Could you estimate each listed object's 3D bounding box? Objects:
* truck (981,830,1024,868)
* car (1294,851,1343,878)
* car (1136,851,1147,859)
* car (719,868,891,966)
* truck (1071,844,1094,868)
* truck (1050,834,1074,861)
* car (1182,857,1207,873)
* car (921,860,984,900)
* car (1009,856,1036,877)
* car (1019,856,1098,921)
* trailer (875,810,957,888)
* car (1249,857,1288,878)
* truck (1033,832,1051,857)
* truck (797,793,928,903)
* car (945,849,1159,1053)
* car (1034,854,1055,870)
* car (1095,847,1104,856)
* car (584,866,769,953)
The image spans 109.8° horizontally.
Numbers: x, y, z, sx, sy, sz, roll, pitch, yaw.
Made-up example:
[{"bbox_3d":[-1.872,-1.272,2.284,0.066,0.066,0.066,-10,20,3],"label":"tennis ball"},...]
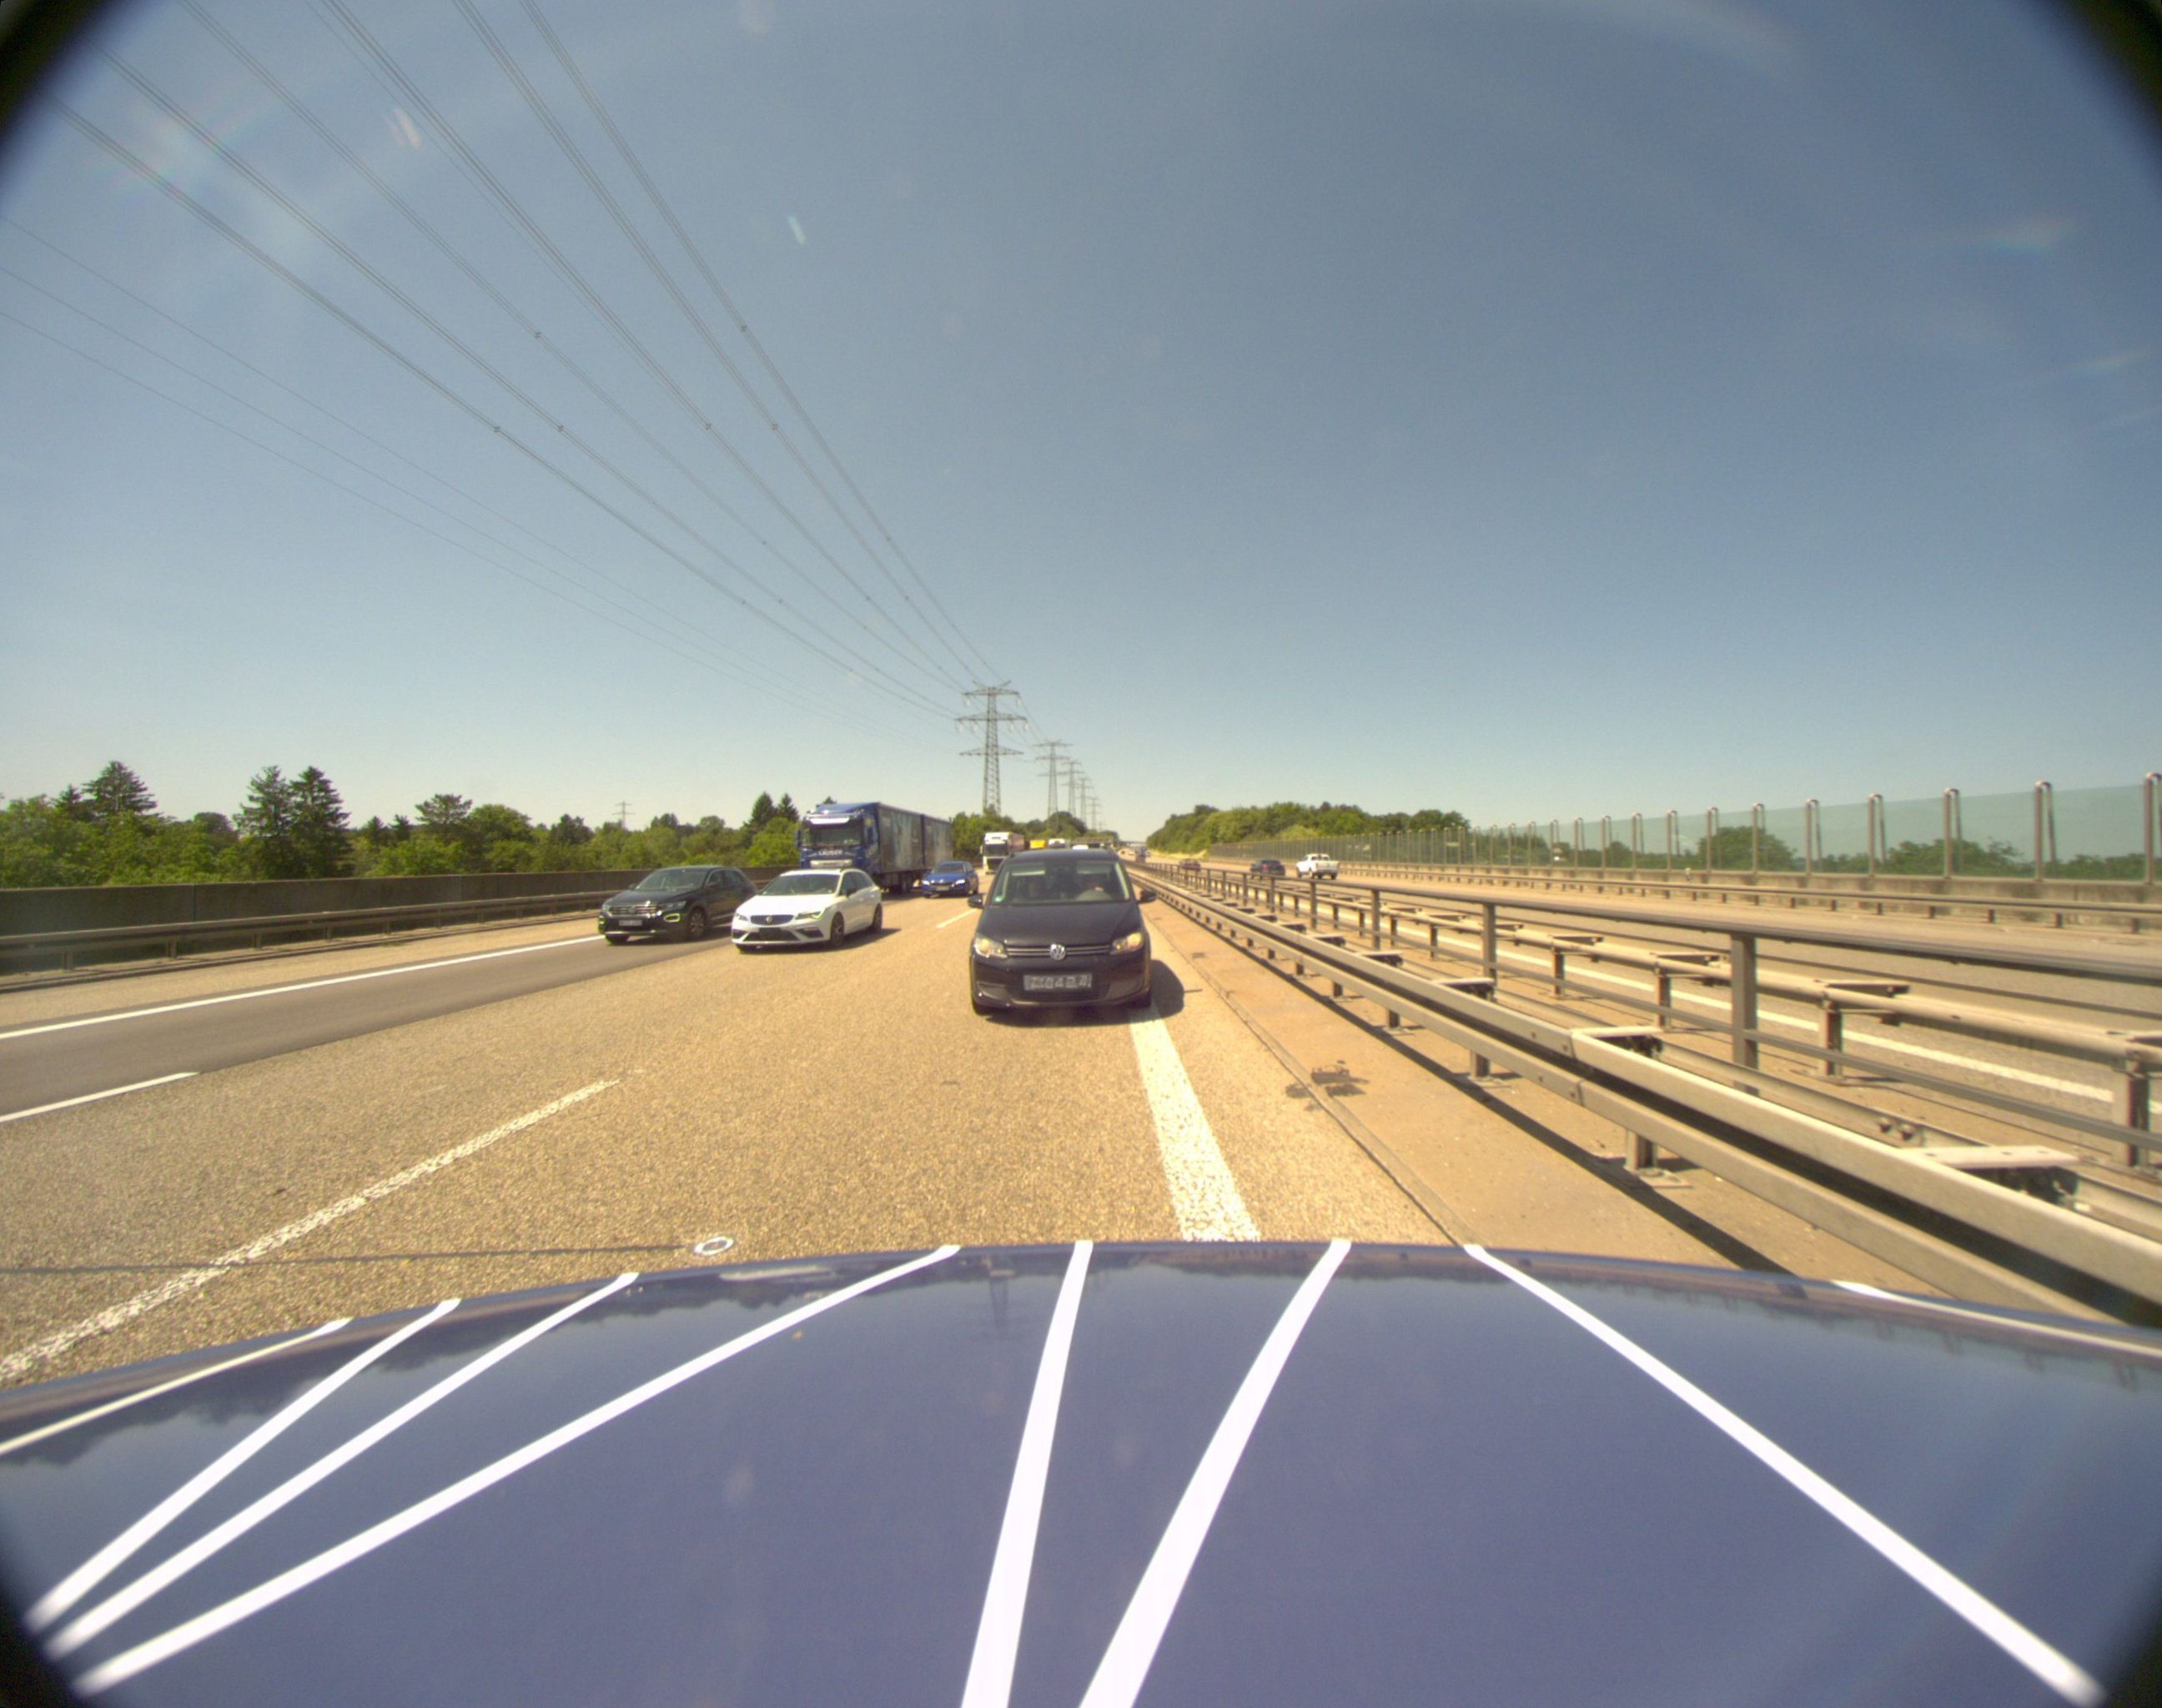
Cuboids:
[{"bbox_3d":[-7.902,-0.510,77.766,2.985,3.538,10.967,-2,1,1],"label":"truck"},{"bbox_3d":[17.637,0.730,56.616,1.998,1.874,5.256,1,0,0],"label":"car"},{"bbox_3d":[11.709,0.183,147.172,1.810,1.618,4.477,-2,0,0],"label":"car"},{"bbox_3d":[-5.136,1.088,14.785,1.843,1.481,4.071,-2,0,-1],"label":"car"},{"bbox_3d":[0.185,0.182,82.868,2.284,2.479,5.861,-2,0,1],"label":"truck"},{"bbox_3d":[-2.835,-0.984,115.897,2.980,3.832,10.561,-2,1,1],"label":"truck"},{"bbox_3d":[9.943,0.947,66.759,1.601,1.310,4.341,1,0,0],"label":"car"},{"bbox_3d":[-5.261,1.024,31.555,1.739,1.437,4.211,-1,0,2],"label":"car"},{"bbox_3d":[-4.404,0.892,57.638,1.763,1.495,4.094,-2,0,0],"label":"car"},{"bbox_3d":[-0.504,0.819,20.108,1.845,1.495,4.377,-1,0,1],"label":"car"},{"bbox_3d":[-9.140,-0.308,43.178,2.572,3.922,8.478,-2,1,1],"label":"trailer"},{"bbox_3d":[12.660,0.879,51.461,1.601,1.342,4.179,1,0,1],"label":"car"},{"bbox_3d":[-6.515,-1.588,129.278,2.346,4.058,8.278,-2,1,1],"label":"truck"},{"bbox_3d":[-9.239,-0.269,33.719,2.529,4.043,10.446,-2,1,1],"label":"truck"},{"bbox_3d":[-0.228,0.810,8.394,1.740,1.652,3.999,-2,1,0],"label":"car"},{"bbox_3d":[-3.487,0.761,73.345,1.763,1.495,4.094,-1,0,0],"label":"car"},{"bbox_3d":[4.150,-0.528,174.500,1.998,2.002,4.000,-2,1,1],"label":"car"},{"bbox_3d":[-8.597,1.093,16.610,1.740,1.518,4.106,-2,0,1],"label":"car"}]
